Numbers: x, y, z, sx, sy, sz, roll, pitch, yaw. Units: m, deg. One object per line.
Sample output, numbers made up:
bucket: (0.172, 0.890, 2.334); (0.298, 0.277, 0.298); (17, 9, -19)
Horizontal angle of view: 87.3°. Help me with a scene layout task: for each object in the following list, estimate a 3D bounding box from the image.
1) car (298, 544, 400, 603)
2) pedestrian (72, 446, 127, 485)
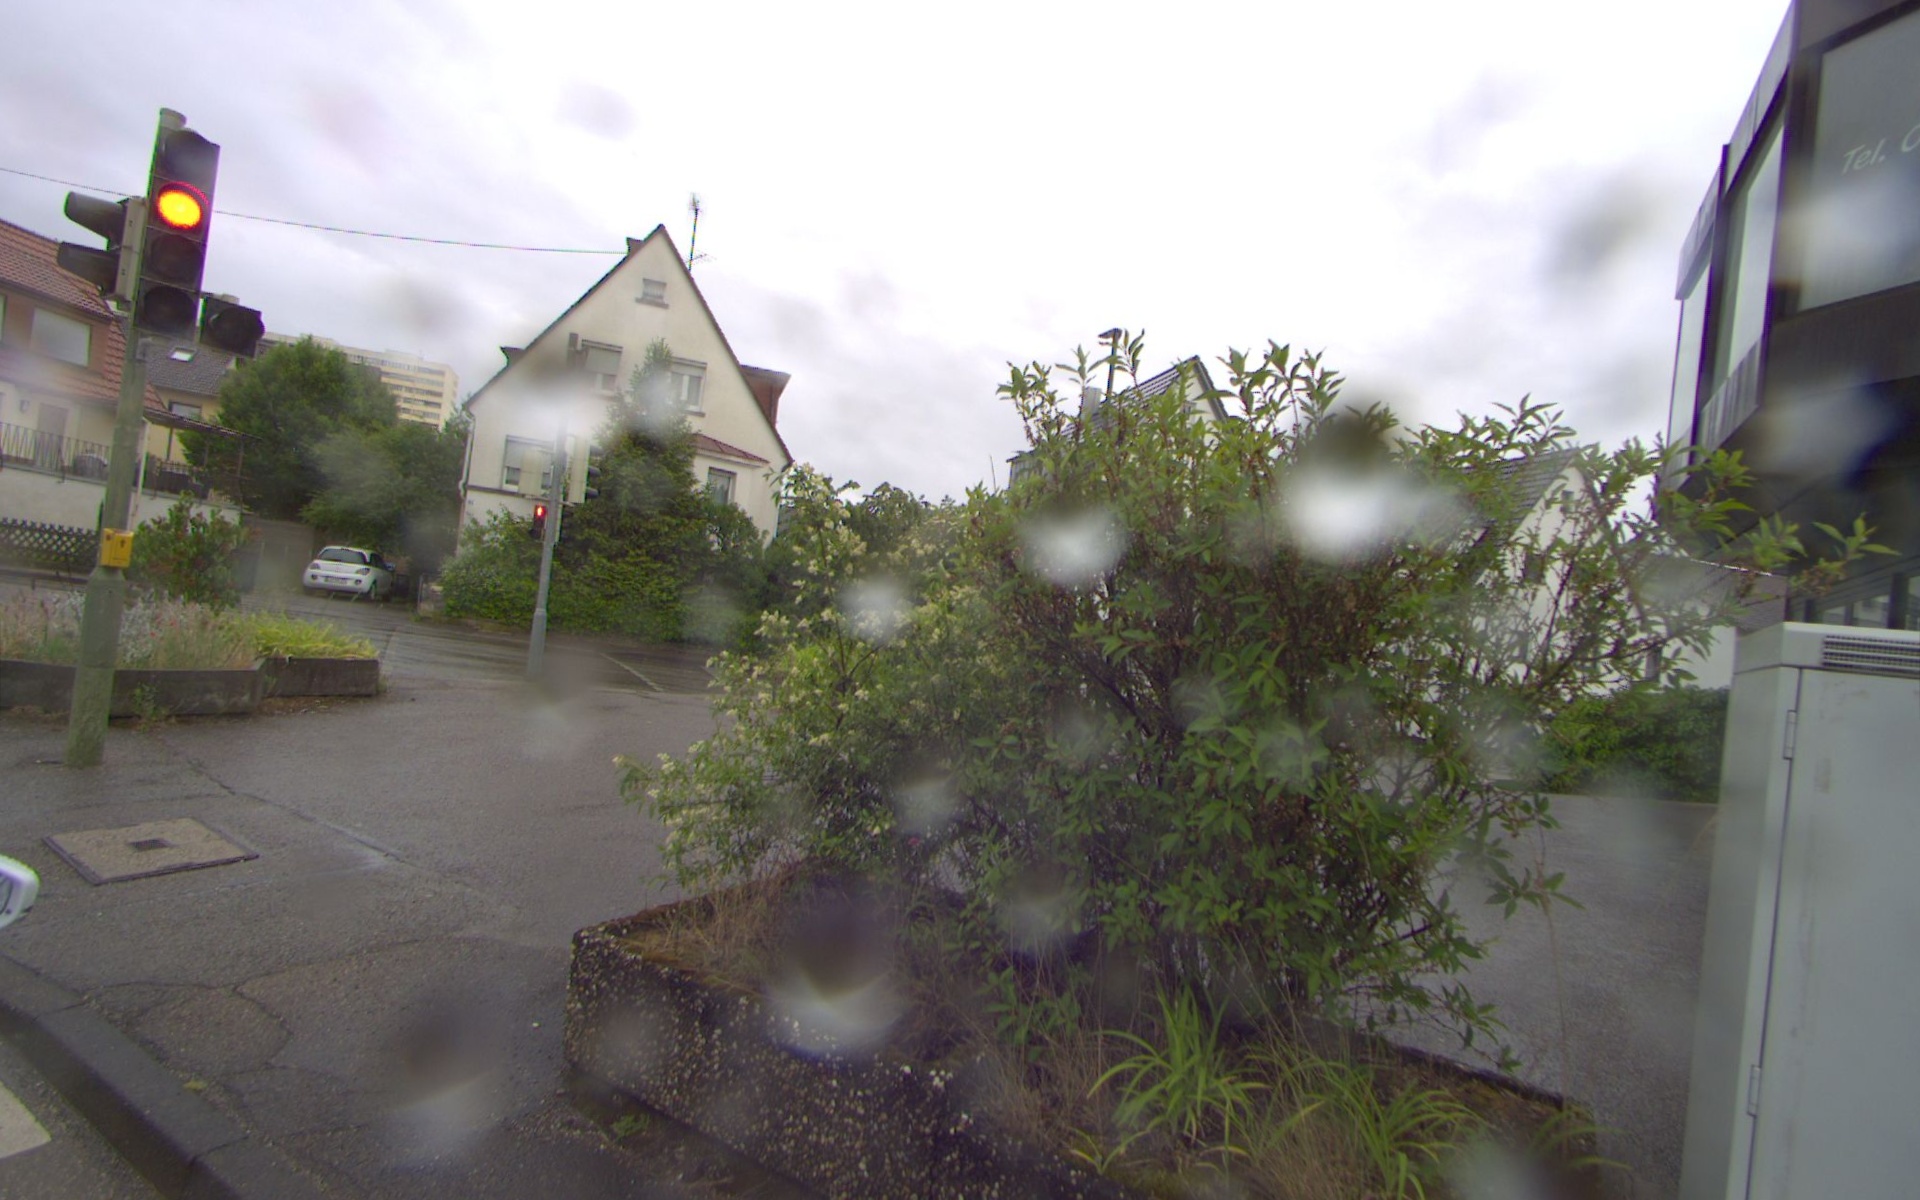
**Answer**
car: (-17.747, -0.740, 29.415); (1.794, 1.378, 3.981); (8, -2, -22)
pedestrian: (-24.263, -3.796, 28.365); (0.623, 0.893, 0.920); (5, -2, 13)
